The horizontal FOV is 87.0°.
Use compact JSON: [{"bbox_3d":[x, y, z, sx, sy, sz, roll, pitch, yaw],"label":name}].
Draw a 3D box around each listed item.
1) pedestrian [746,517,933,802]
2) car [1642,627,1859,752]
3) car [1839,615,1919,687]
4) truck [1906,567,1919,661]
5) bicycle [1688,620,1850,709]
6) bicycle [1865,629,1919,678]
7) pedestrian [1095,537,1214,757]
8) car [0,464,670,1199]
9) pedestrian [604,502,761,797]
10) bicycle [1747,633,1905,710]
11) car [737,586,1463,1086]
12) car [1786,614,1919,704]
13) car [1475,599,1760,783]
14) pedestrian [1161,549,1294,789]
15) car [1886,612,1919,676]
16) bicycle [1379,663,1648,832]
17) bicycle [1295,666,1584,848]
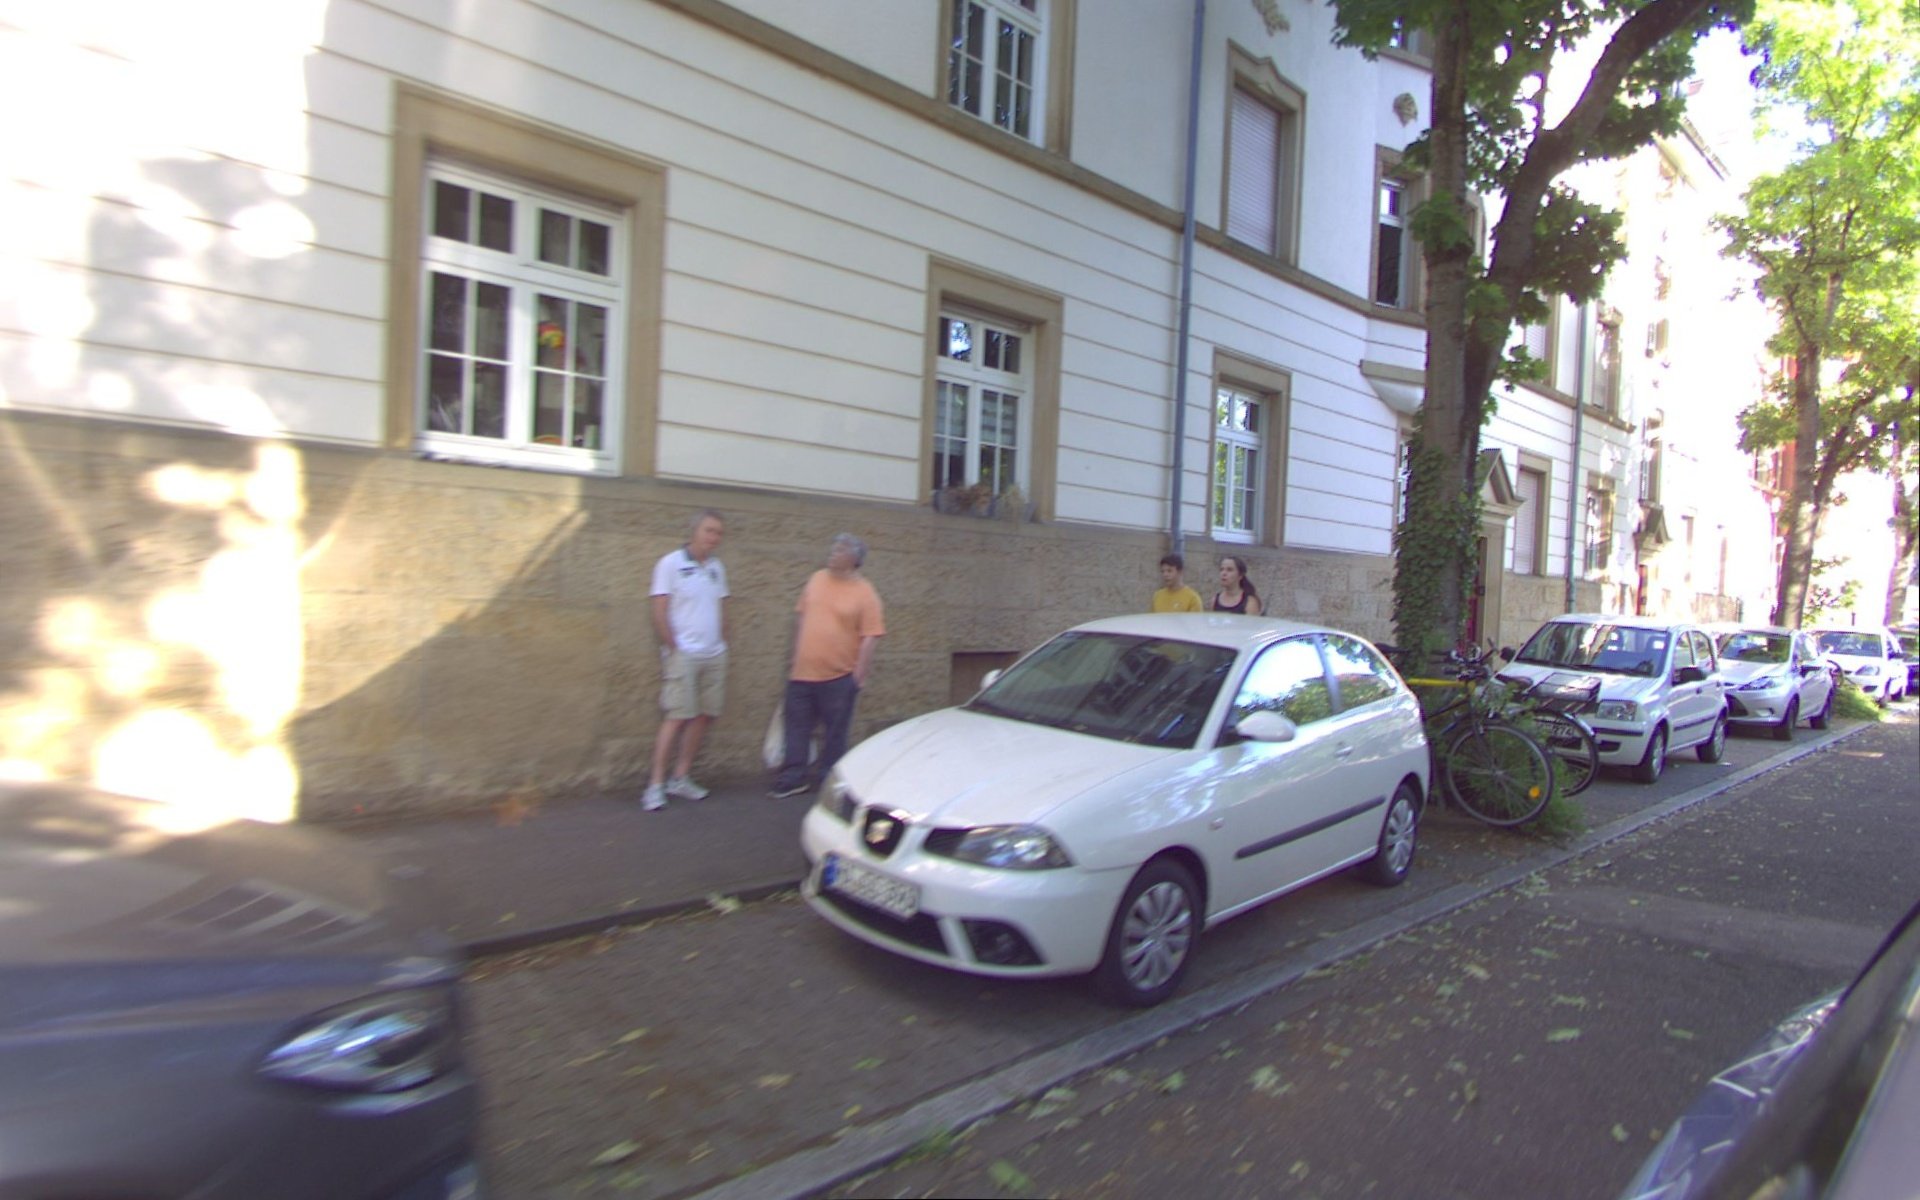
[{"bbox_3d":[-0.793,0.342,6.667,0.860,1.715,0.779,1,3,-44],"label":"pedestrian"},{"bbox_3d":[11.282,1.148,14.342,4.084,1.411,1.626,1,2,-41],"label":"car"},{"bbox_3d":[22.481,1.183,24.107,4.382,1.533,1.789,1,1,-42],"label":"car"},{"bbox_3d":[33.440,0.577,33.714,6.003,3.004,2.078,2,4,-42],"label":"truck"},{"bbox_3d":[13.736,1.053,17.230,0.746,1.244,1.975,2,3,-39],"label":"bicycle"},{"bbox_3d":[25.671,1.477,27.235,0.559,1.181,1.815,2,4,-41],"label":"bicycle"},{"bbox_3d":[1.605,0.363,8.350,0.676,1.722,0.597,2,1,-39],"label":"pedestrian"},{"bbox_3d":[-2.775,0.552,1.180,4.336,1.570,1.791,1,2,-44],"label":"car"},{"bbox_3d":[-1.736,0.278,6.330,0.744,1.726,0.490,1,3,-42],"label":"pedestrian"},{"bbox_3d":[15.170,1.224,17.781,0.589,1.086,1.975,2,3,-39],"label":"bicycle"},{"bbox_3d":[0.980,0.758,5.075,1.612,1.496,3.807,3,1,45],"label":"car"},{"bbox_3d":[17.872,1.103,20.093,3.682,1.506,1.600,1,2,-41],"label":"car"},{"bbox_3d":[6.903,0.821,10.504,3.481,1.529,1.523,1,2,-41],"label":"car"},{"bbox_3d":[2.093,0.506,7.892,0.862,1.756,0.521,2,1,-40],"label":"pedestrian"},{"bbox_3d":[28.668,1.288,29.573,4.859,1.737,1.888,1,2,-43],"label":"car"},{"bbox_3d":[4.376,1.112,8.118,0.595,1.052,1.773,2,1,-40],"label":"bicycle"},{"bbox_3d":[3.434,1.064,7.374,0.720,0.961,1.719,2,2,-40],"label":"bicycle"}]
